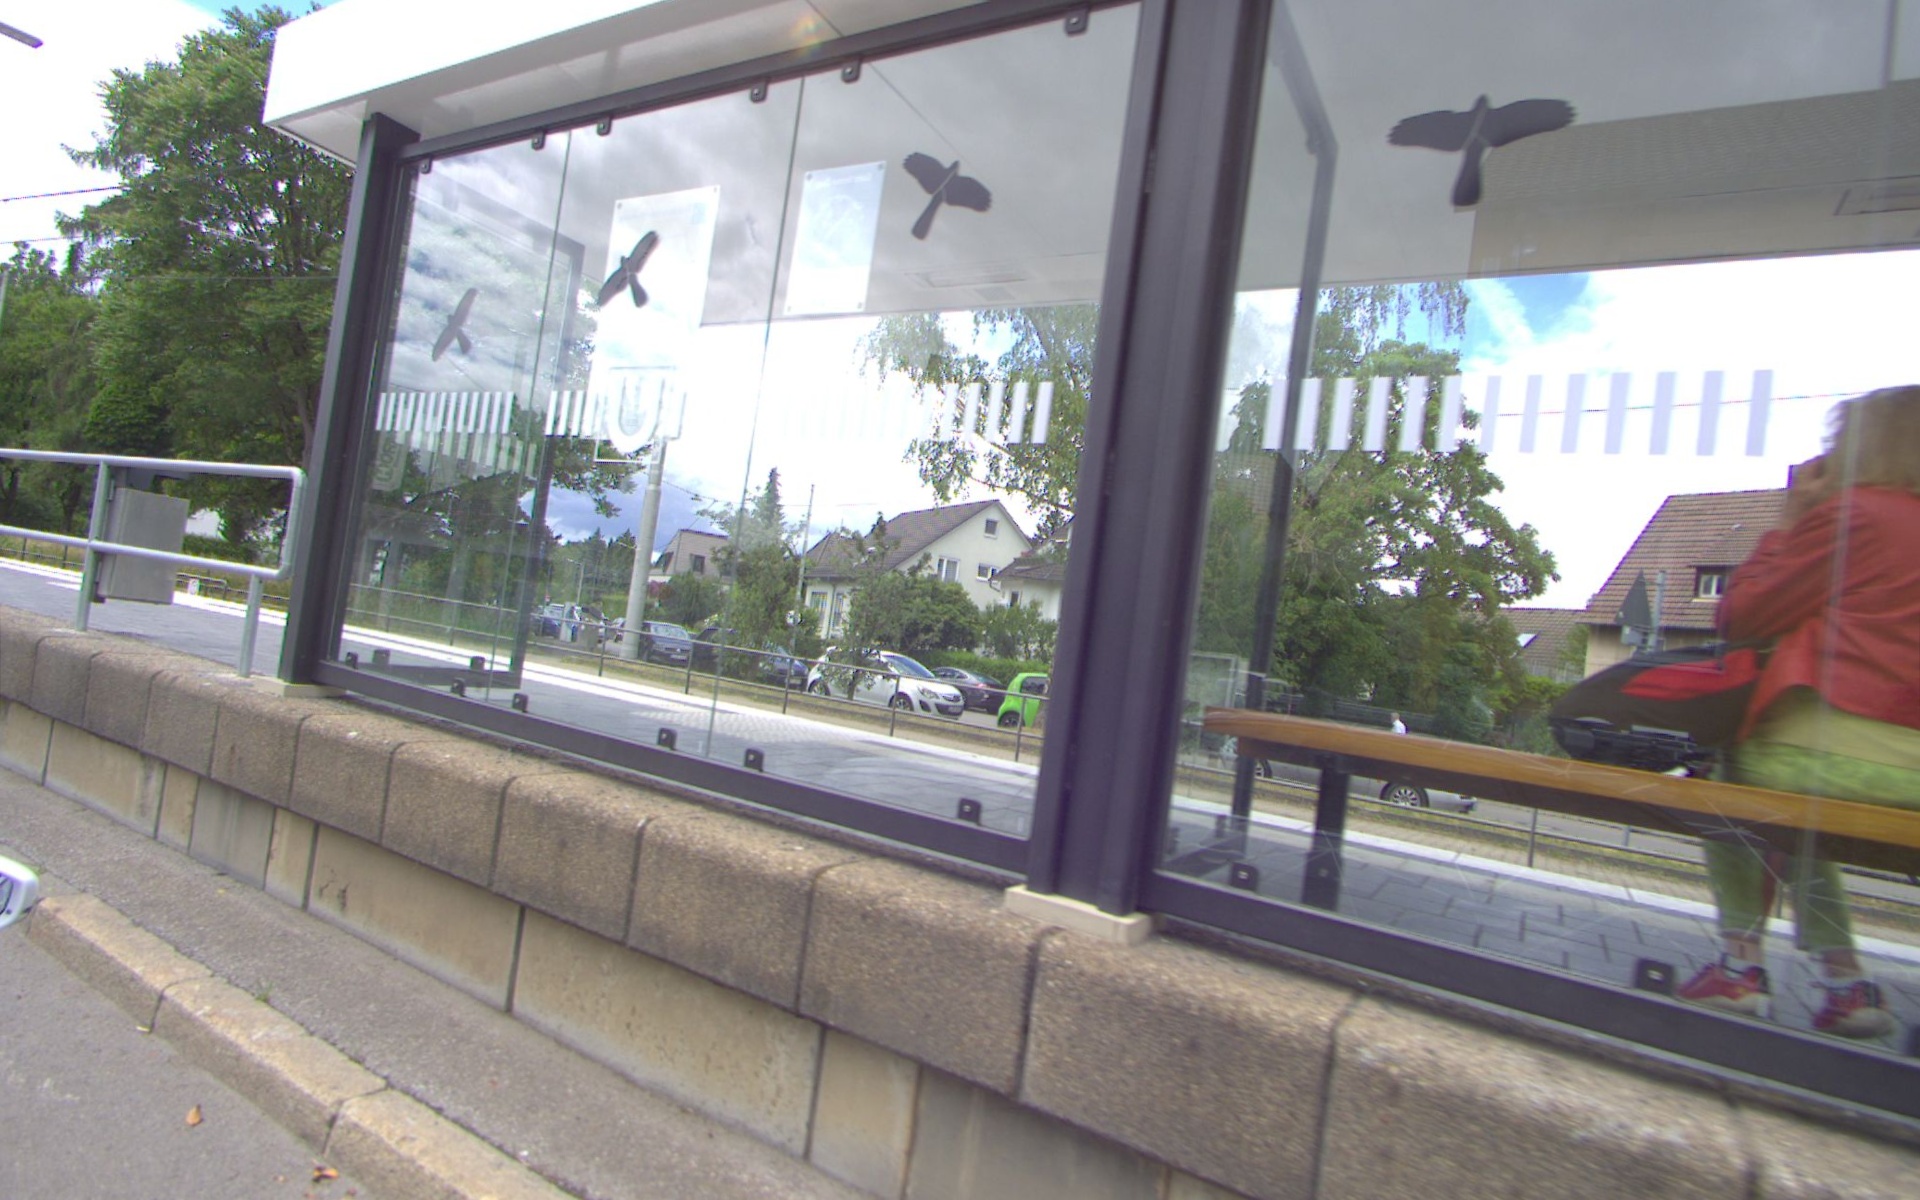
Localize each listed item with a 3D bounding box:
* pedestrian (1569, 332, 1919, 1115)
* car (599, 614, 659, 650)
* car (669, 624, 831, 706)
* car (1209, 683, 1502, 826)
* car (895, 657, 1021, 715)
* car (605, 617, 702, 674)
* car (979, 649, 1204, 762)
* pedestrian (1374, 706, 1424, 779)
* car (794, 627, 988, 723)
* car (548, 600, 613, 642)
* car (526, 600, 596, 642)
[{"bbox_3d":[1.716,0.221,1.998,0.707,1.313,0.622,7,-2,29],"label":"pedestrian"},{"bbox_3d":[-19.827,1.908,60.219,1.810,1.654,4.195,10,-3,-40],"label":"car"},{"bbox_3d":[-5.523,1.653,26.121,4.444,1.504,1.838,5,-3,45],"label":"car"},{"bbox_3d":[6.718,2.547,17.199,4.192,1.591,2.067,6,-3,34],"label":"car"},{"bbox_3d":[-0.151,3.091,36.477,1.752,1.505,4.641,9,-4,-43],"label":"car"},{"bbox_3d":[-9.965,1.435,32.488,1.745,1.503,4.469,9,-5,-31],"label":"car"},{"bbox_3d":[2.579,2.073,20.033,3.936,1.591,1.733,6,-3,34],"label":"car"},{"bbox_3d":[11.809,3.822,27.070,0.815,1.791,0.682,8,-2,-16],"label":"pedestrian"},{"bbox_3d":[-1.617,1.694,23.018,4.034,1.591,1.760,6,-3,34],"label":"car"},{"bbox_3d":[-21.235,1.174,56.153,1.751,1.864,4.451,10,-4,-41],"label":"car"},{"bbox_3d":[-20.234,1.034,50.969,2.055,1.591,4.218,10,-3,-37],"label":"car"}]
